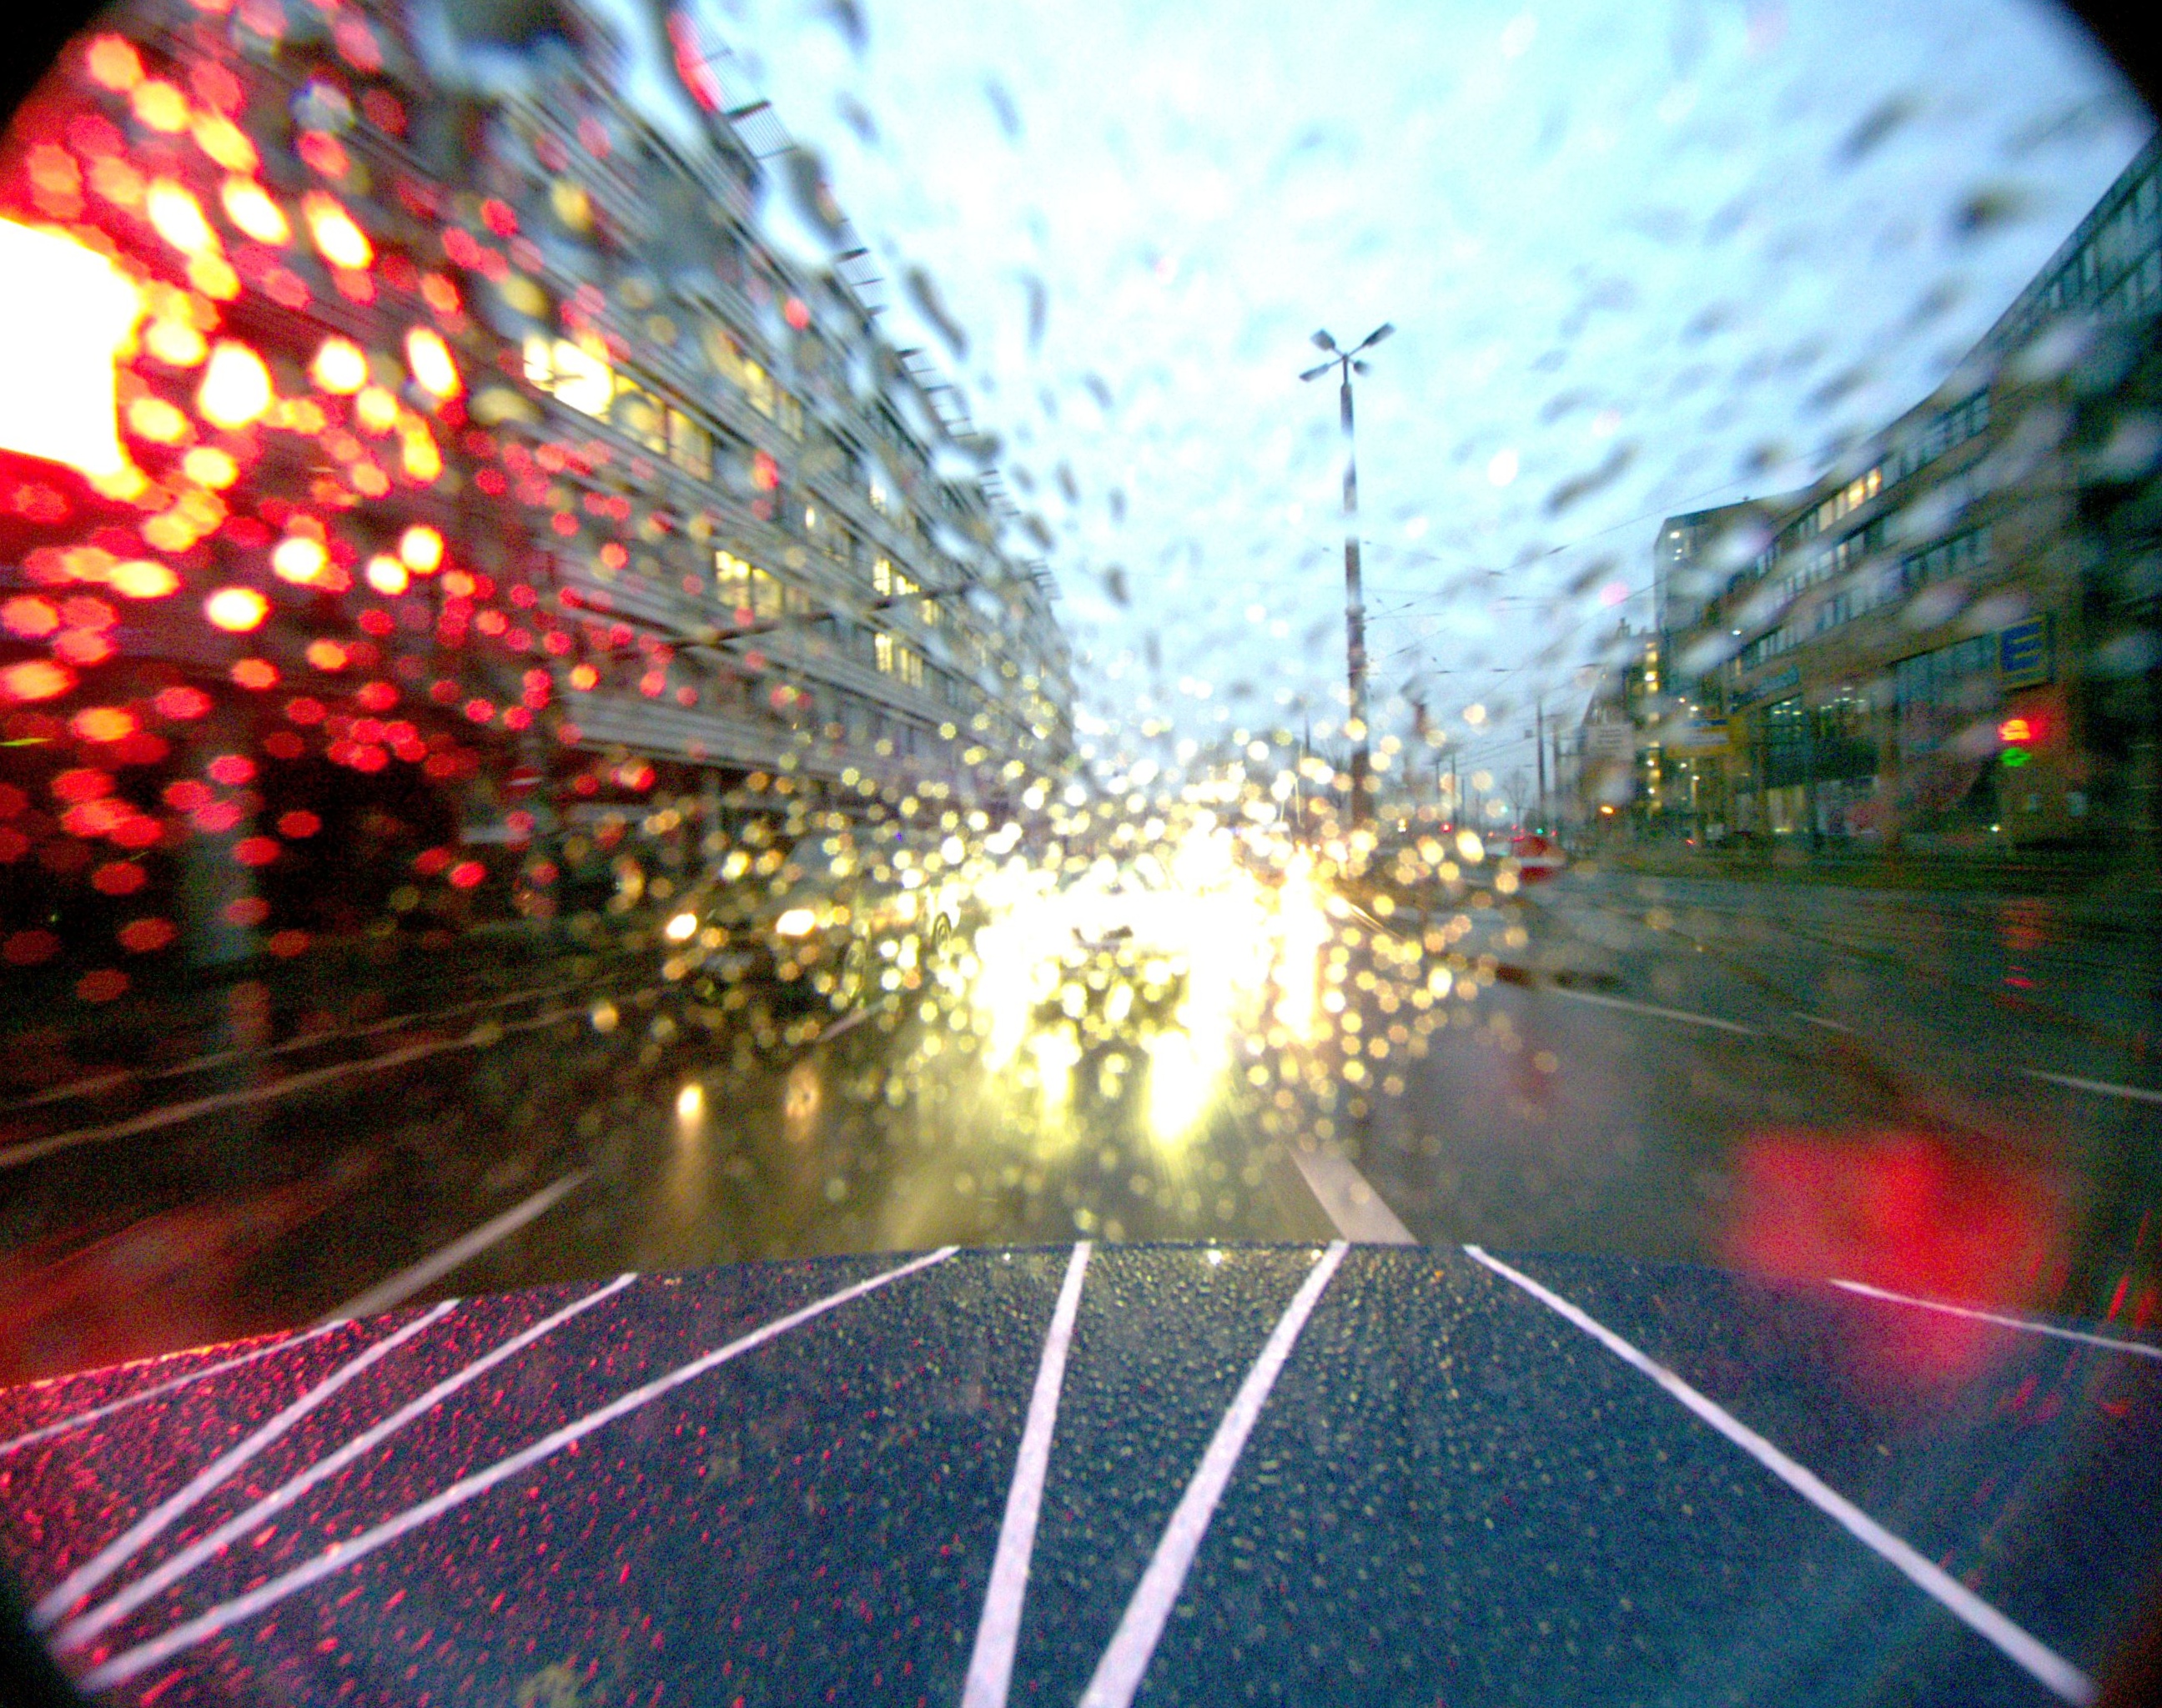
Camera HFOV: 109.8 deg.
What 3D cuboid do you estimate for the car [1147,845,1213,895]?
[{"bbox_3d":[3.362,0.474,25.264,1.772,1.449,4.225,-2,1,12],"label":"car"}]

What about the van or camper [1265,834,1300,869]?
[{"bbox_3d":[14.955,-0.209,56.187,2.183,2.338,5.656,-4,0,17],"label":"van or camper"}]

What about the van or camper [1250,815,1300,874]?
[{"bbox_3d":[9.496,-0.489,37.212,2.059,2.533,5.890,-4,0,14],"label":"van or camper"}]

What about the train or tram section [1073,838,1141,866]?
[{"bbox_3d":[5.184,-0.473,154.417,13.353,4.832,3.745,-4,1,29],"label":"train or tram section"}]

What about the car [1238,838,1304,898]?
[{"bbox_3d":[5.520,0.364,22.098,1.683,1.563,3.764,-2,0,14],"label":"car"}]

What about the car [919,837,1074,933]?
[{"bbox_3d":[-1.709,0.597,17.307,1.907,1.808,4.693,-4,0,14],"label":"car"}]

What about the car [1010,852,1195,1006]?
[{"bbox_3d":[0.477,0.755,9.692,1.773,1.449,4.224,-4,0,8],"label":"car"}]

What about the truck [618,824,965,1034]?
[{"bbox_3d":[-3.128,0.719,9.494,1.908,1.906,4.620,-4,0,9],"label":"truck"}]

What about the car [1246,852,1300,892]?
[{"bbox_3d":[7.568,0.658,30.023,1.823,1.324,4.229,-4,0,14],"label":"car"}]
